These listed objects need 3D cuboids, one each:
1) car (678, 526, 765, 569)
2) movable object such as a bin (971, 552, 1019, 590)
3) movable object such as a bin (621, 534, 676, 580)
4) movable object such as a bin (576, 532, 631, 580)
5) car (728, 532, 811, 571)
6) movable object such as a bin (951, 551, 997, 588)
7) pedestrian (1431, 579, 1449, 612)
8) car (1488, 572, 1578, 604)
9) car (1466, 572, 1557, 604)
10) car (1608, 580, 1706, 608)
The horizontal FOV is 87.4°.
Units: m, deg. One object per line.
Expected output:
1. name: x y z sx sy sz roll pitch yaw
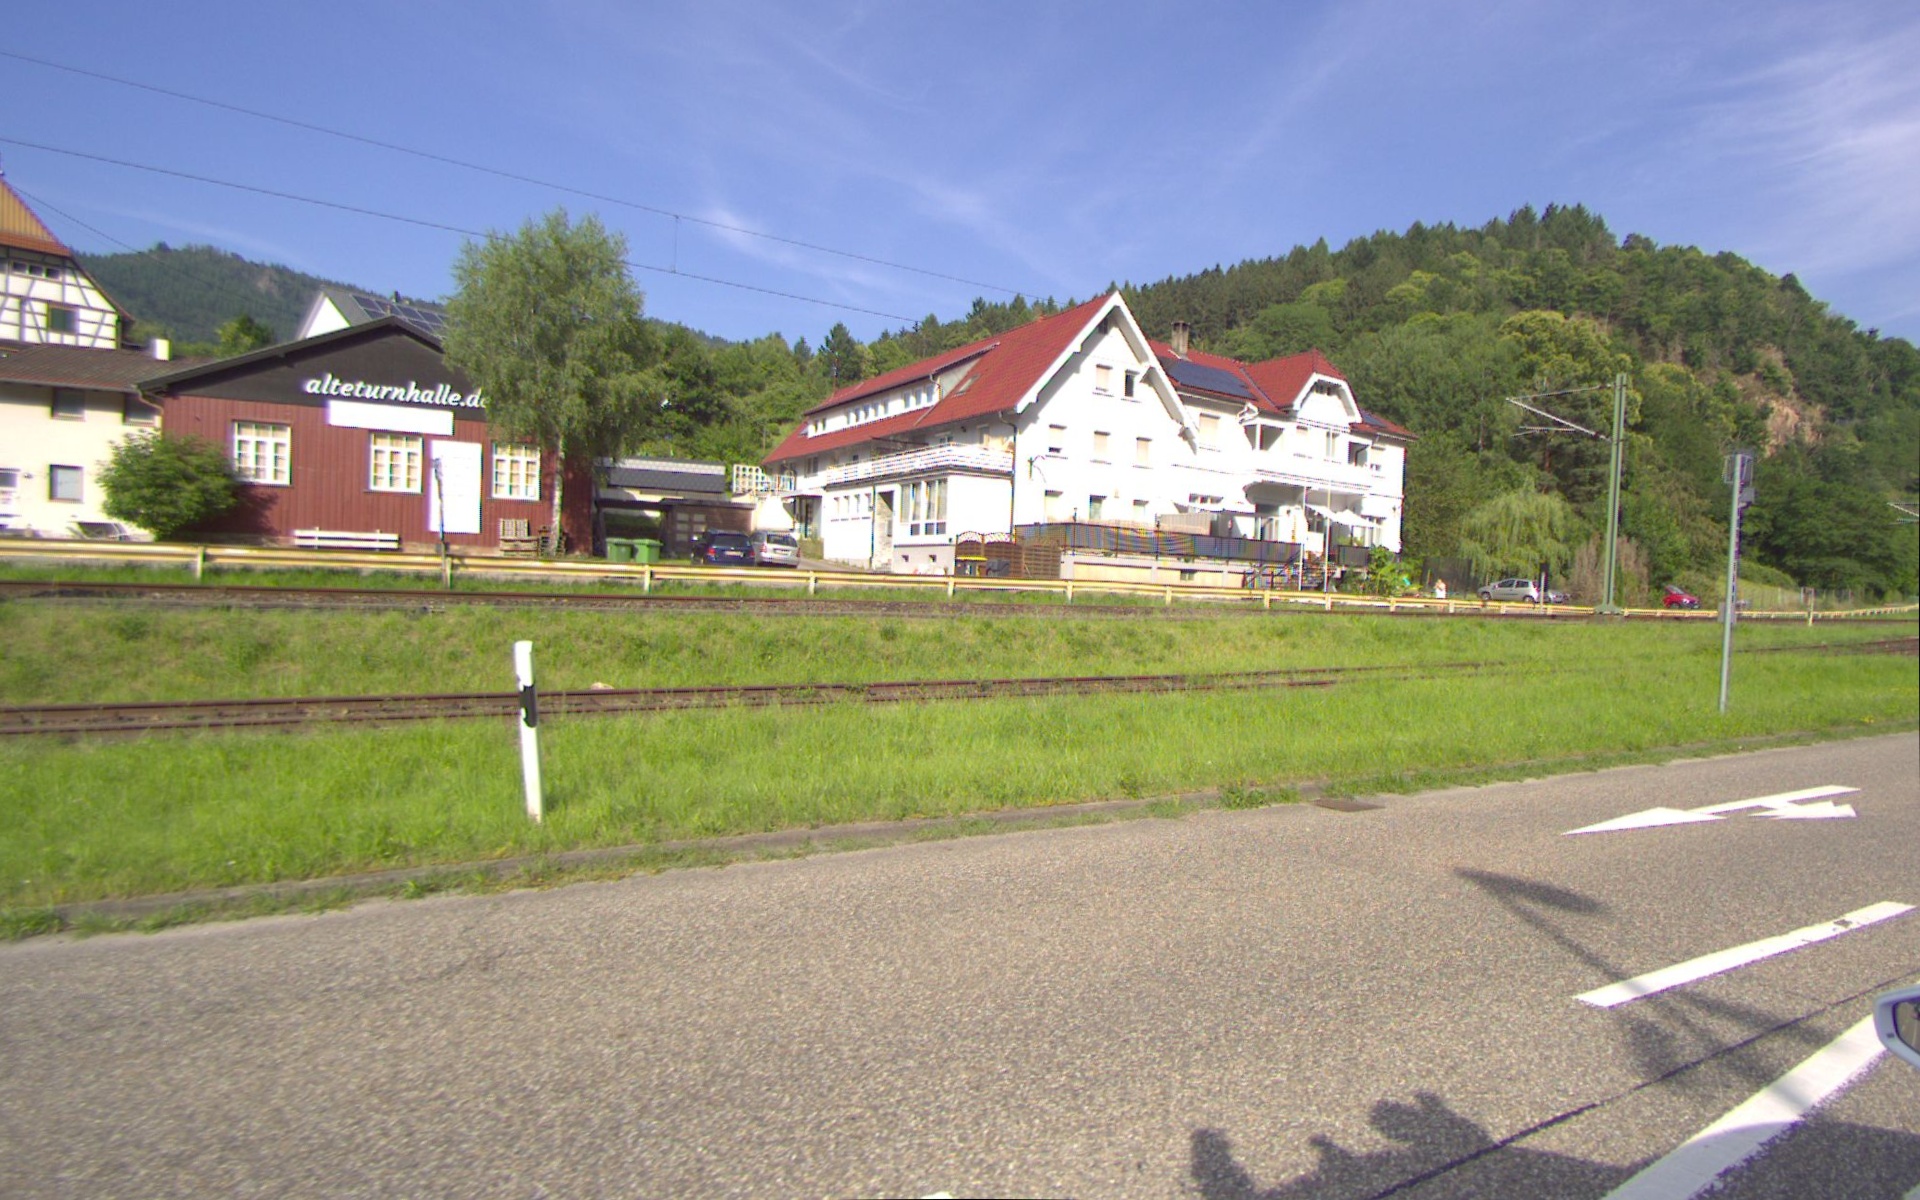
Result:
1. car: -8.072 -1.739 33.759 1.716 1.288 4.074 1 2 -30
2. movable object such as a bin: 1.166 -0.971 33.532 1.131 1.208 1.083 1 2 -32
3. movable object such as a bin: -8.583 -1.184 27.664 1.083 1.208 1.131 1 2 -38
4. movable object such as a bin: -9.553 -1.172 26.922 1.083 1.208 1.131 1 2 -38
5. car: -7.316 -1.834 38.219 1.735 1.347 4.230 1 2 -31
6. movable object such as a bin: 0.480 -1.047 34.466 1.131 1.208 1.083 1 2 -32
7. pedestrian: 23.757 -0.228 49.754 0.664 1.638 0.608 3 2 18
8. car: 33.671 -0.747 59.159 1.978 1.714 4.121 1 2 -32
9. car: 31.703 -0.709 57.830 1.978 1.714 4.121 1 2 -32
10. car: 47.810 -0.426 69.042 2.427 1.714 4.940 1 2 -30
